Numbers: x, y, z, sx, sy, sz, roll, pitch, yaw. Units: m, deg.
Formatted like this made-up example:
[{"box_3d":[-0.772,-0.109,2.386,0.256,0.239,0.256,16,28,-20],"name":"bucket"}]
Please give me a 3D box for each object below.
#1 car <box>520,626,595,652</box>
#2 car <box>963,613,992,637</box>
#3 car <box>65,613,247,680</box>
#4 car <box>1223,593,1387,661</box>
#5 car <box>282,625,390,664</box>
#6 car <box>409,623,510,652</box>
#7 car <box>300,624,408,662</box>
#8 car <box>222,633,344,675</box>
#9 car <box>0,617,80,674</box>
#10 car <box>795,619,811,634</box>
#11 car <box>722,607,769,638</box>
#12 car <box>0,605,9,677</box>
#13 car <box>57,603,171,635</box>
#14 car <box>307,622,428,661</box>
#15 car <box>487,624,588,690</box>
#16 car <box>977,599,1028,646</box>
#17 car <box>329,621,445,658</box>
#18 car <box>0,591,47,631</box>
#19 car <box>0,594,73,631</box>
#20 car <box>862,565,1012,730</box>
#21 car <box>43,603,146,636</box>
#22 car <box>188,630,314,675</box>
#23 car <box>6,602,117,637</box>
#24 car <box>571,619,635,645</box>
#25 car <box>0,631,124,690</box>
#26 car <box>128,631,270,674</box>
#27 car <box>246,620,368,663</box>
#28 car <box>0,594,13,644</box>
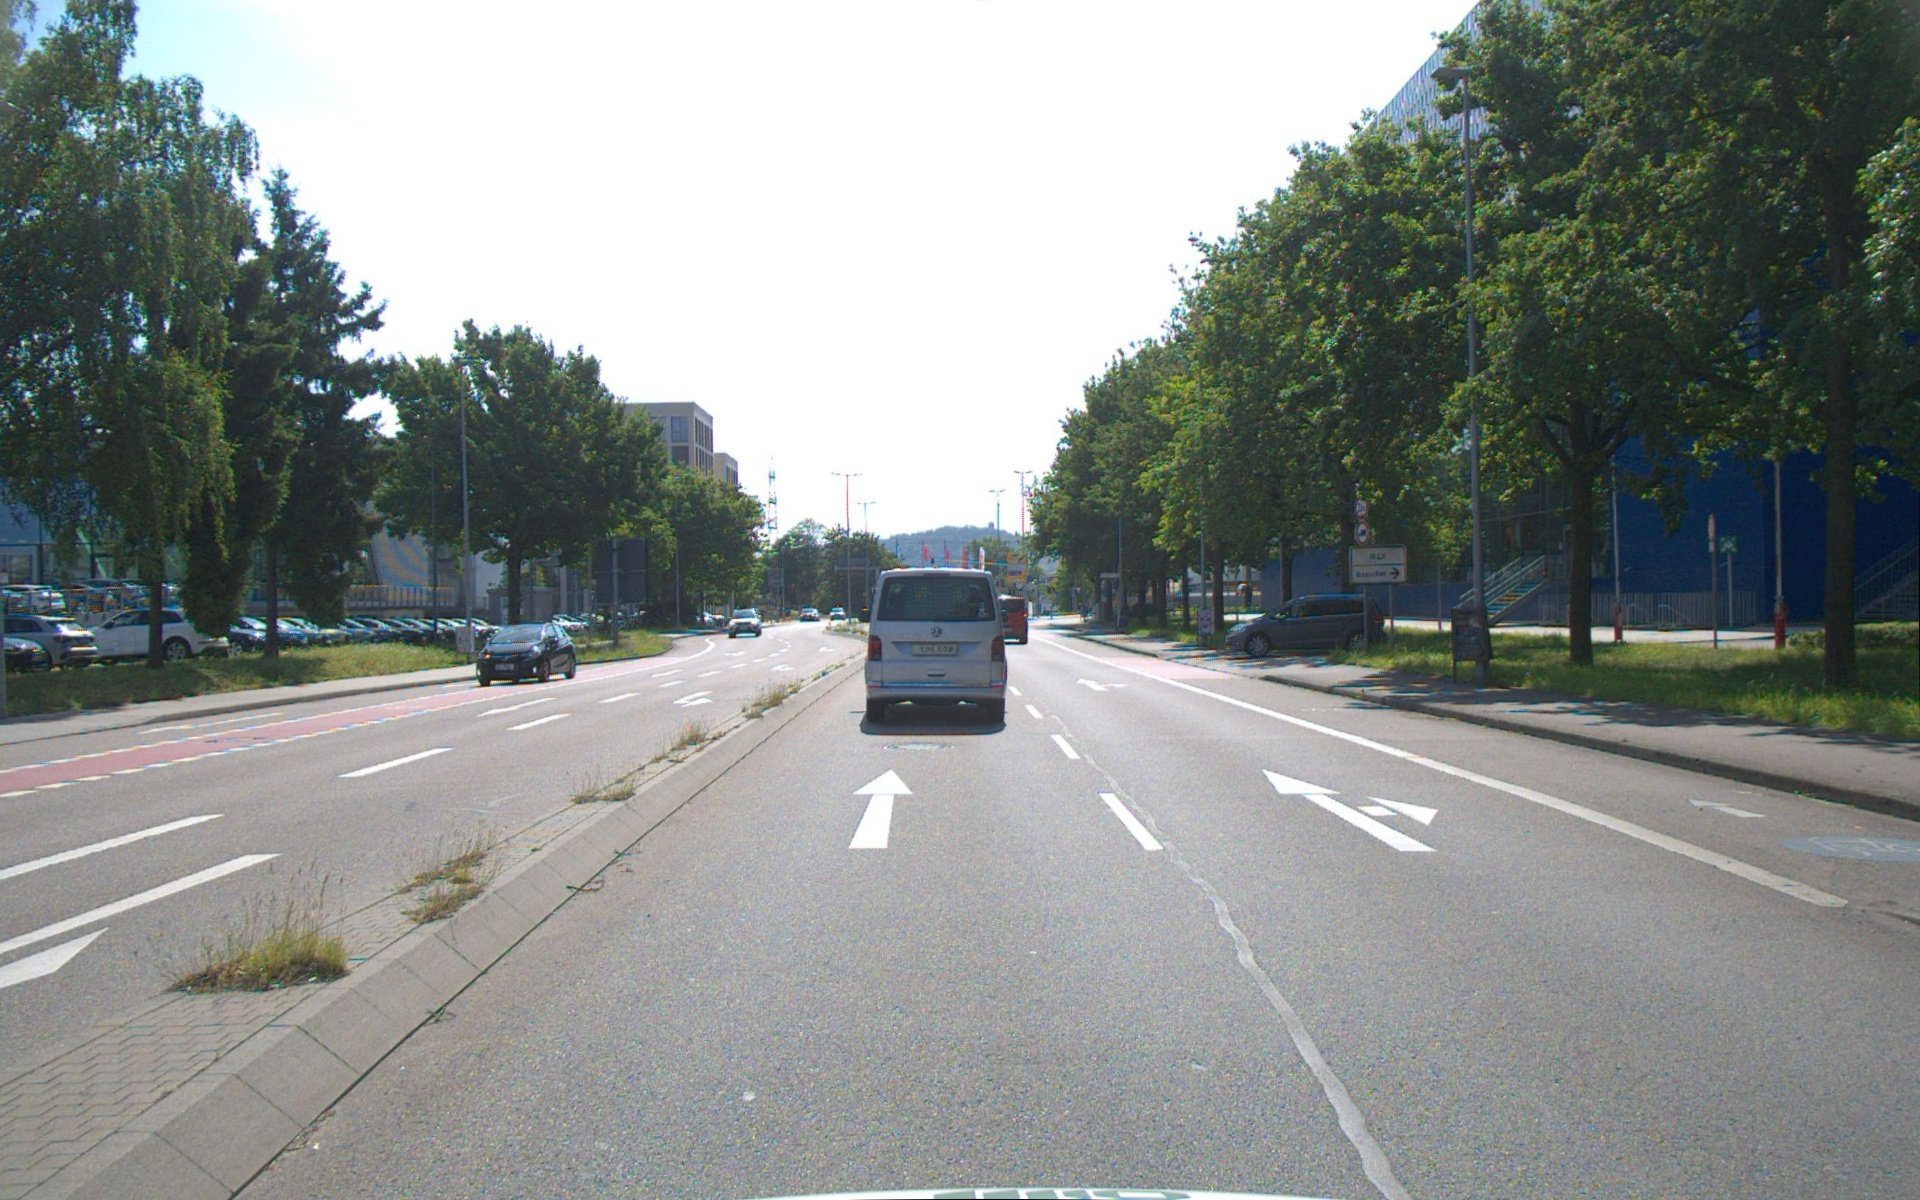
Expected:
[{"box_3d":[-24.459,2.351,100.605,4.092,1.211,1.954,-5,0,-3],"name":"car"},{"box_3d":[1.091,1.575,104.100,1.711,1.484,4.474,0,-1,-1],"name":"car"},{"box_3d":[-23.699,1.352,48.860,4.372,1.908,2.000,0,-1,0],"name":"car"},{"box_3d":[9.735,0.757,46.959,4.350,1.723,1.845,-2,-1,6],"name":"car"},{"box_3d":[-24.466,1.722,64.919,3.523,1.307,1.864,-3,0,-3],"name":"car"},{"box_3d":[-24.764,1.861,81.890,4.410,1.312,1.918,-1,-1,-3],"name":"car"},{"box_3d":[-24.654,1.740,67.385,3.607,1.307,1.984,-3,0,-3],"name":"car"},{"box_3d":[-24.333,1.932,59.506,3.668,1.307,1.662,-3,0,-3],"name":"car"},{"box_3d":[-23.287,1.030,38.255,4.753,1.290,1.999,0,-1,-2],"name":"car"},{"box_3d":[-18.609,3.140,196.207,1.704,1.647,4.206,-4,0,-3],"name":"car"},{"box_3d":[-12.331,1.296,95.408,1.952,1.646,4.105,-3,-1,3],"name":"car"},{"box_3d":[-23.149,0.889,35.610,4.128,1.573,1.999,0,-1,-2],"name":"car"},{"box_3d":[-40.910,0.921,80.039,4.428,1.522,1.985,0,-1,-2],"name":"car"},{"box_3d":[-25.079,1.734,70.109,4.410,1.502,1.978,-1,-1,-3],"name":"car"},{"box_3d":[-11.076,1.459,43.641,1.663,1.545,4.026,-3,0,-2],"name":"car"},{"box_3d":[1.820,0.967,72.385,1.928,2.002,5.123,0,-1,-2],"name":"car"},{"box_3d":[-25.197,1.736,72.850,4.410,1.502,1.918,-1,-1,-3],"name":"car"},{"box_3d":[-40.500,0.499,68.349,4.410,1.578,1.978,-1,-1,-3],"name":"car"},{"box_3d":[-40.701,0.571,70.759,4.410,1.511,1.978,-1,-1,-3],"name":"car"},{"box_3d":[-0.319,0.609,22.418,1.846,2.025,3.999,0,-1,-1],"name":"car"},{"box_3d":[-40.625,0.914,77.706,3.906,1.522,1.667,0,-1,-2],"name":"car"},{"box_3d":[-24.189,1.776,56.517,3.523,1.307,1.743,-3,0,-3],"name":"car"},{"box_3d":[-40.644,0.884,74.890,3.906,1.522,2.051,0,-1,-2],"name":"car"},{"box_3d":[-24.503,2.171,113.600,3.907,1.467,2.000,-5,-1,-1],"name":"car"},{"box_3d":[-23.052,1.478,41.086,3.605,1.395,1.816,0,-1,-2],"name":"car"},{"box_3d":[-24.381,1.677,53.090,3.715,1.308,1.743,0,-1,-3],"name":"car"},{"box_3d":[-24.542,1.544,62.249,3.810,1.364,1.839,-3,0,-3],"name":"car"},{"box_3d":[-40.340,0.809,65.519,4.410,1.996,1.978,-1,-1,-3],"name":"car"}]
